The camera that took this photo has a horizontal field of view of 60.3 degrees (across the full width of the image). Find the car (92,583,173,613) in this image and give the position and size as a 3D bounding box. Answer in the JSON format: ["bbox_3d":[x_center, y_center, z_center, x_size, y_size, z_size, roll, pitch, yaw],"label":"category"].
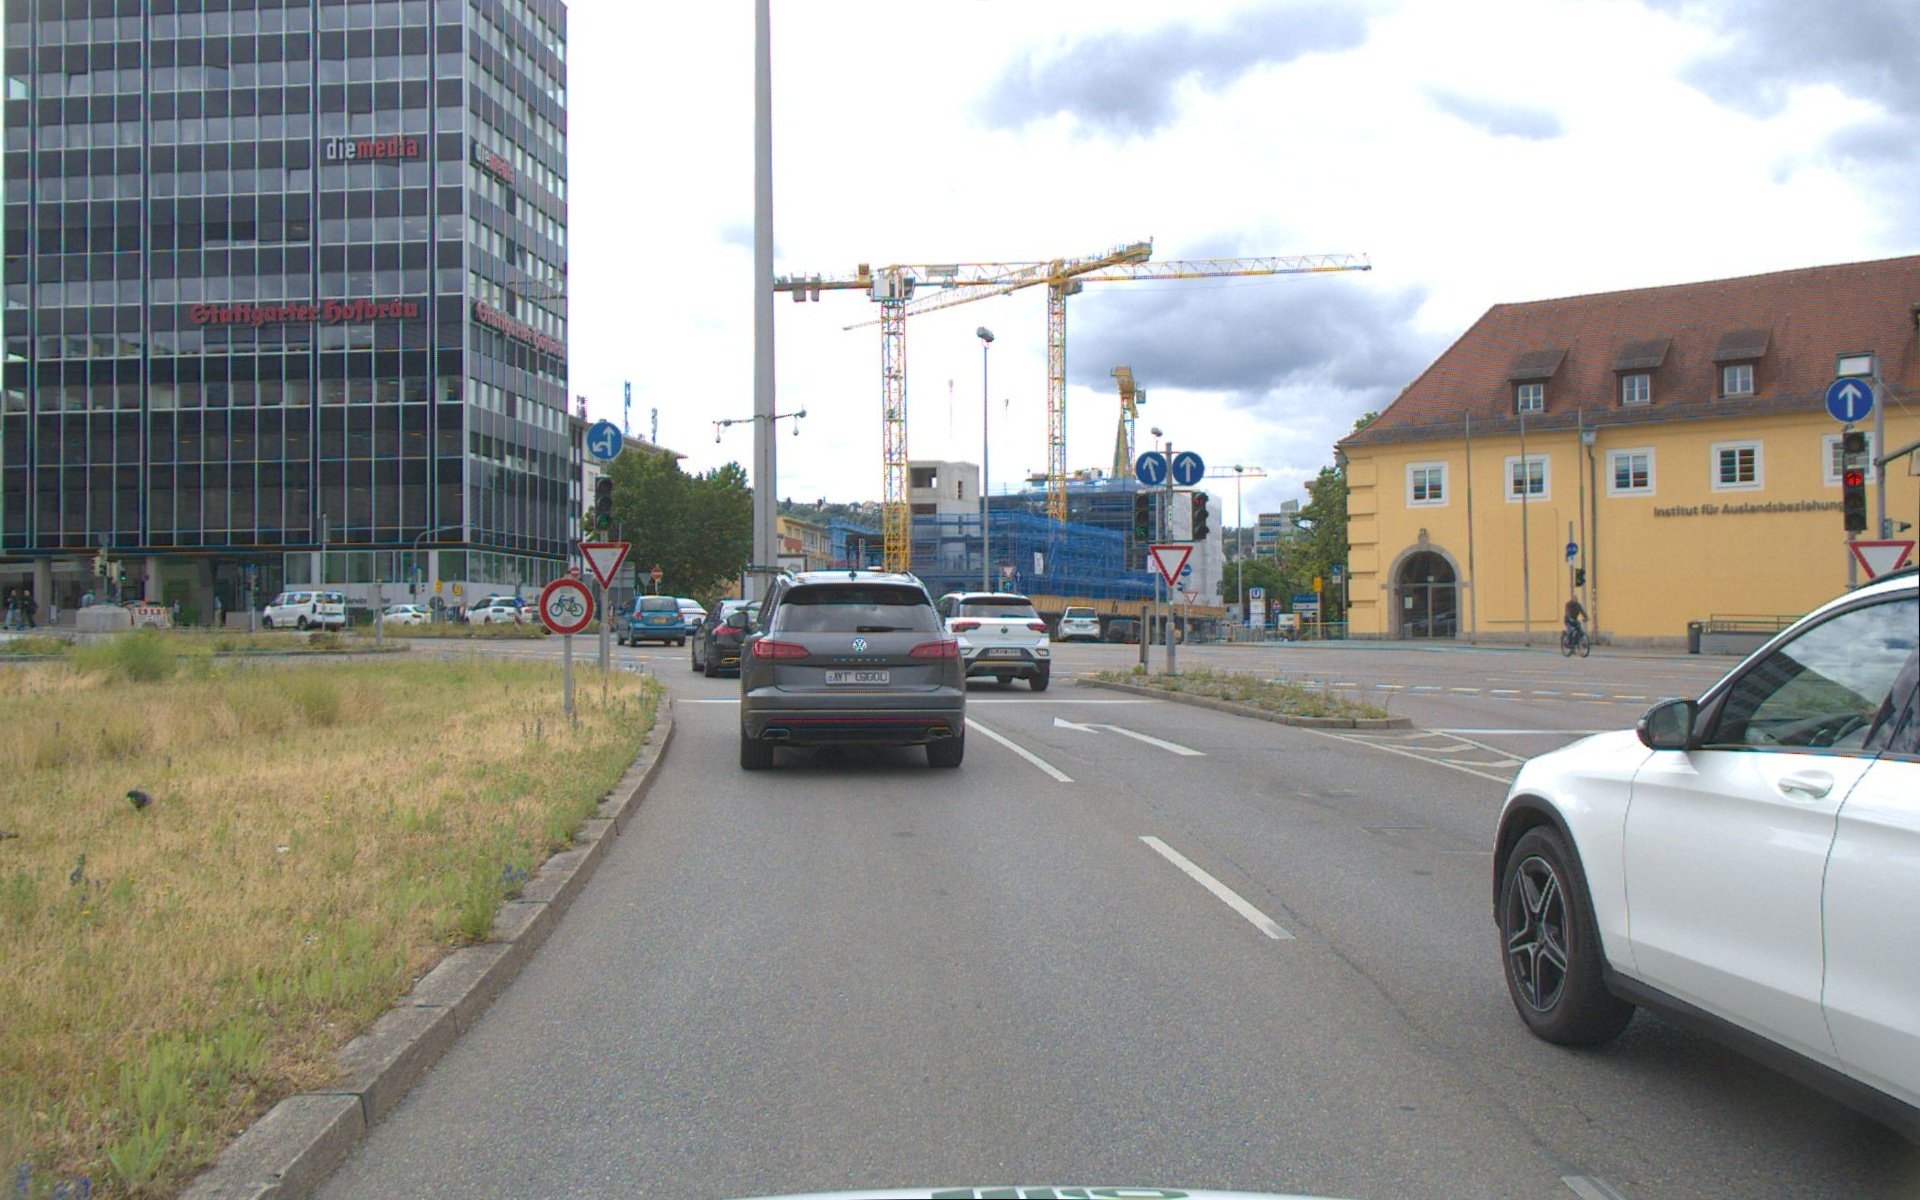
[{"bbox_3d":[-43.349,-0.118,86.613,3.889,1.529,1.723,1,0,25],"label":"car"}]

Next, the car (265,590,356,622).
[{"bbox_3d":[-32.819,0.273,83.543,4.520,1.529,2.243,1,1,36],"label":"car"}]

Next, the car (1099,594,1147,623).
[{"bbox_3d":[9.861,0.523,99.941,1.947,1.696,3.982,0,0,20],"label":"car"}]

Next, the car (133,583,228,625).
[{"bbox_3d":[-39.454,0.193,83.703,3.902,2.049,2.002,0,0,11],"label":"car"}]

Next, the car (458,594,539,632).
[{"bbox_3d":[-19.503,0.540,69.791,1.805,1.522,3.846,0,1,-42],"label":"car"}]

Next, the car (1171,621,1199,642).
[{"bbox_3d":[17.197,2.376,126.284,1.764,1.529,3.984,0,0,14],"label":"car"}]

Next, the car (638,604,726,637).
[{"bbox_3d":[-10.368,0.745,61.477,1.657,1.159,4.019,0,0,-36],"label":"car"}]

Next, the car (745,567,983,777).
[{"bbox_3d":[-1.020,0.552,15.268,1.896,1.676,3.993,0,1,-8],"label":"car"}]

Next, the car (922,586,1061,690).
[{"bbox_3d":[0.456,0.583,27.856,1.857,1.613,3.796,0,1,-6],"label":"car"}]

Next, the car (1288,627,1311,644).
[{"bbox_3d":[41.686,4.355,203.113,1.953,2.049,3.999,0,0,-2],"label":"car"}]

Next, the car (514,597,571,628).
[{"bbox_3d":[-19.511,0.569,77.214,1.624,1.421,3.559,0,0,-31],"label":"car"}]

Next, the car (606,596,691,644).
[{"bbox_3d":[-9.388,0.562,49.594,1.768,1.380,4.043,0,0,-22],"label":"car"}]

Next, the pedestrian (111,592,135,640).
[{"bbox_3d":[-42.634,0.820,84.251,0.951,2.403,1.027,0,0,-38],"label":"pedestrian"}]

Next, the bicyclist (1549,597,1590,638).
[{"bbox_3d":[17.932,0.500,48.656,0.904,1.179,0.725,1,0,-3],"label":"bicyclist"}]

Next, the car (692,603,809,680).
[{"bbox_3d":[-4.092,0.751,31.856,1.763,1.380,4.055,0,0,-14],"label":"car"}]

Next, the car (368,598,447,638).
[{"bbox_3d":[-28.138,0.897,84.213,3.920,1.638,1.894,3,6,36],"label":"car"}]

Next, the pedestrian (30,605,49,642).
[{"bbox_3d":[-40.977,1.041,73.626,0.617,1.621,0.583,1,0,-38],"label":"pedestrian"}]

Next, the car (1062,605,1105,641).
[{"bbox_3d":[5.709,1.027,76.177,1.764,1.529,3.984,1,1,7],"label":"car"}]

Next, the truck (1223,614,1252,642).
[{"bbox_3d":[26.338,2.636,156.652,2.083,2.496,4.830,0,0,17],"label":"truck"}]

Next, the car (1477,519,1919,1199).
[{"bbox_3d":[3.004,0.657,4.204,1.783,1.676,4.376,0,1,-4],"label":"car"}]

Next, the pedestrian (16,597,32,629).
[{"bbox_3d":[-41.513,0.588,73.333,0.532,1.420,0.646,1,0,-38],"label":"pedestrian"}]

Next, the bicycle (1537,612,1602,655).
[{"bbox_3d":[17.924,0.966,48.674,0.904,1.179,2.464,1,0,-2],"label":"bicycle"}]

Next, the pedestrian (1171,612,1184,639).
[{"bbox_3d":[10.352,1.207,78.601,0.537,1.304,0.463,1,0,18],"label":"pedestrian"}]
